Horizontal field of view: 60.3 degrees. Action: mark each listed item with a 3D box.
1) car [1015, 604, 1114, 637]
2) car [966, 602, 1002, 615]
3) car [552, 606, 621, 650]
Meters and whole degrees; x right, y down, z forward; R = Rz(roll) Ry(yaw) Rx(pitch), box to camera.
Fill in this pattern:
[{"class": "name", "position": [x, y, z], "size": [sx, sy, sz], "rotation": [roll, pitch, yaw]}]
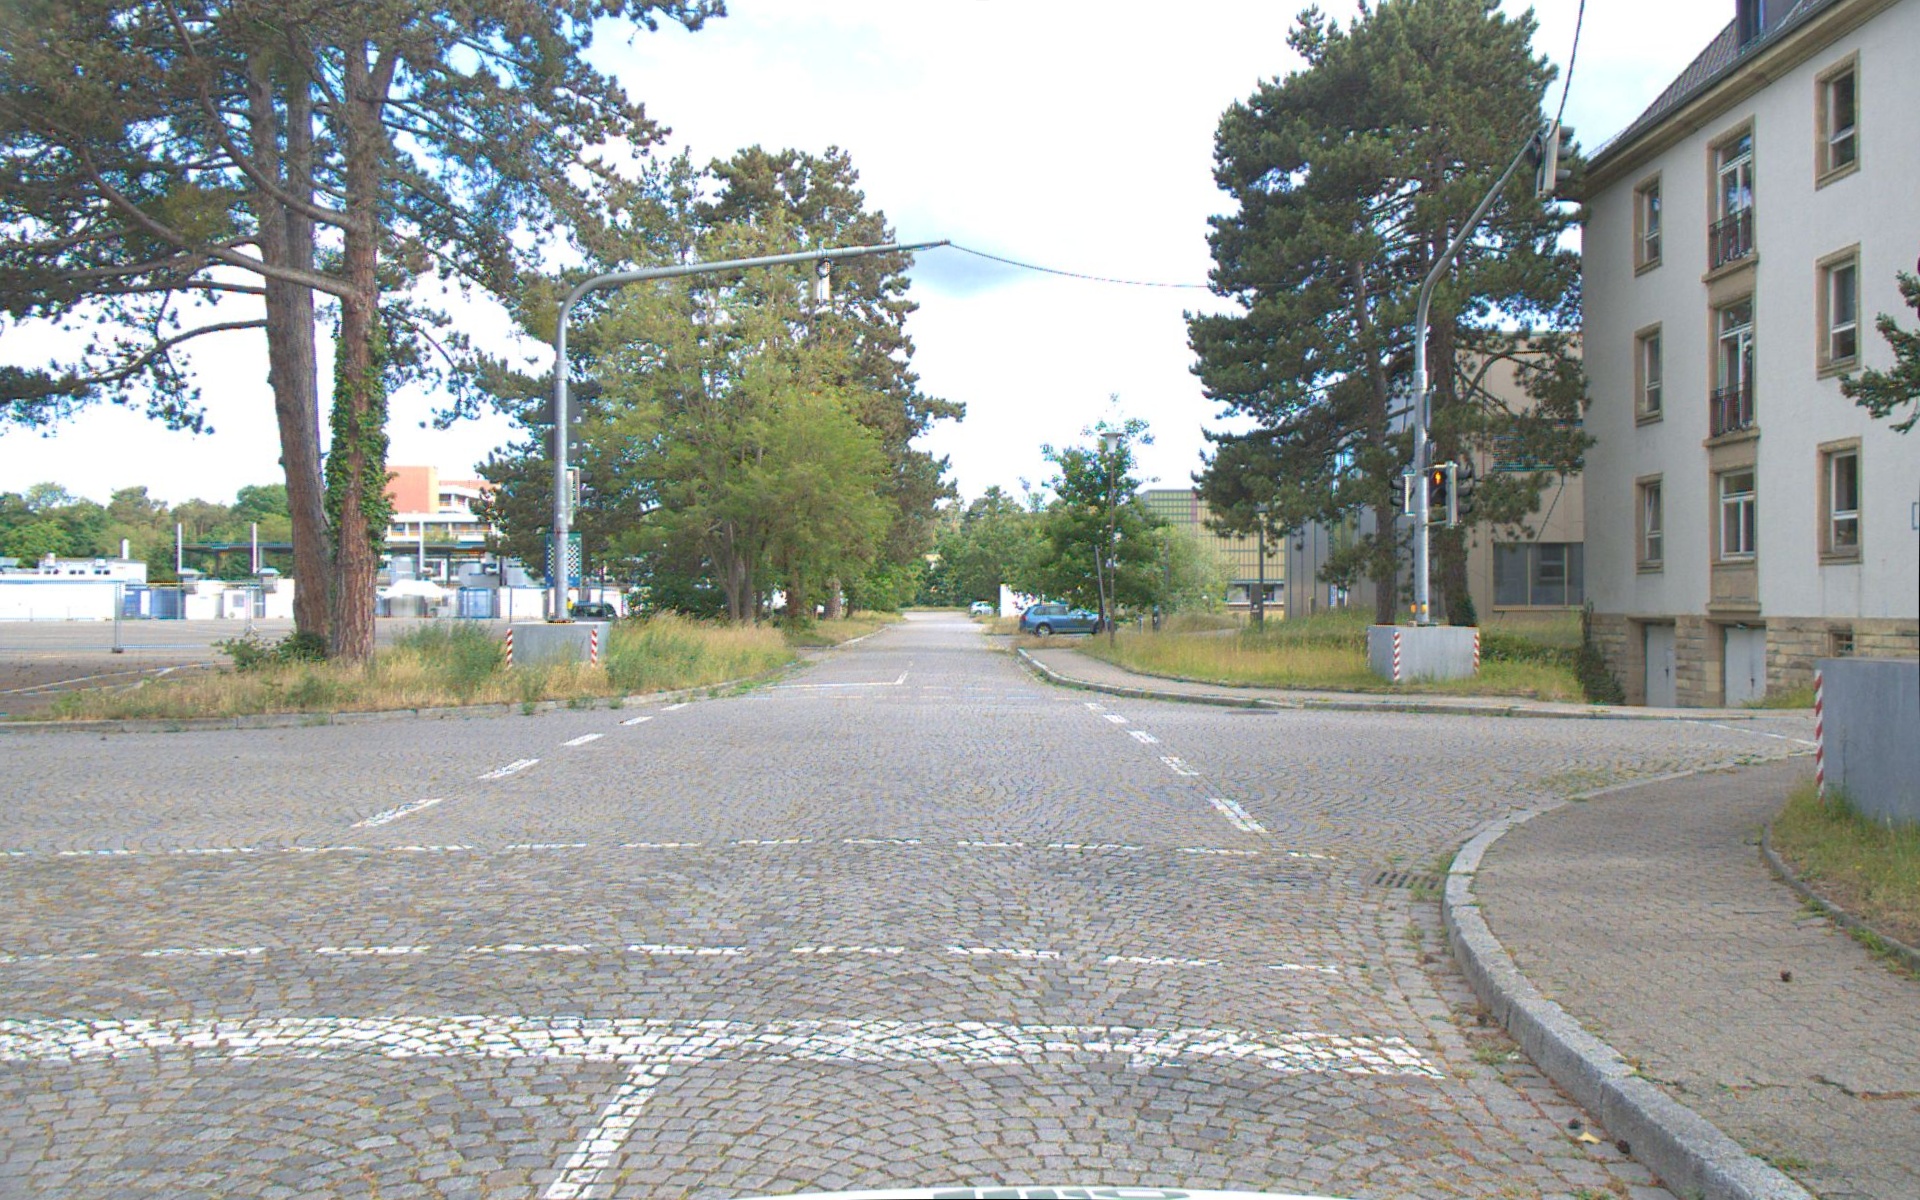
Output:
[{"class": "car", "position": [4.650, 0.909, 74.338], "size": [4.257, 1.447, 1.999], "rotation": [0, 0, -3]}, {"class": "car", "position": [2.772, 1.006, 191.389], "size": [3.910, 1.422, 1.997], "rotation": [0, 0, -6]}, {"class": "car", "position": [-13.333, 0.964, 59.212], "size": [1.580, 1.513, 3.999], "rotation": [0, 0, -1]}]
